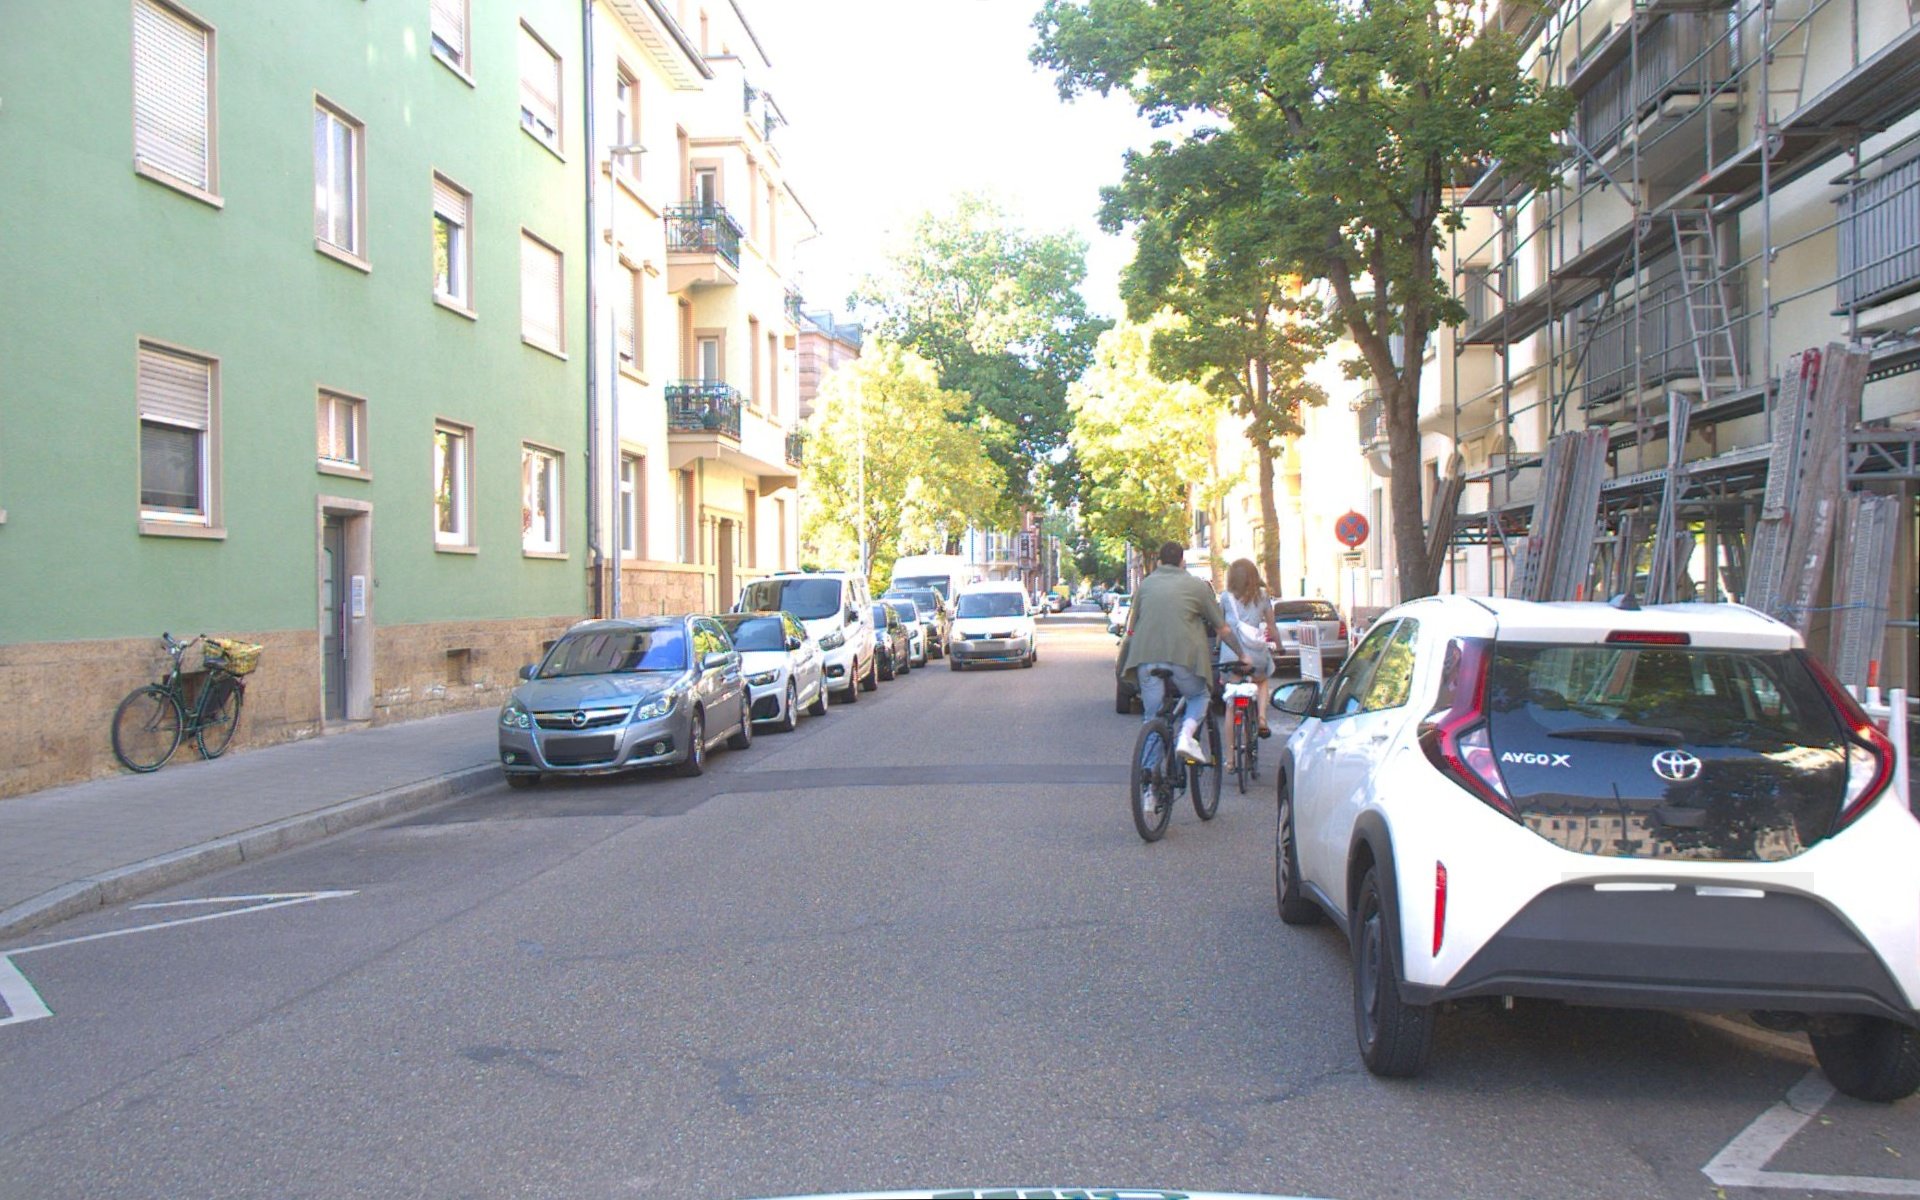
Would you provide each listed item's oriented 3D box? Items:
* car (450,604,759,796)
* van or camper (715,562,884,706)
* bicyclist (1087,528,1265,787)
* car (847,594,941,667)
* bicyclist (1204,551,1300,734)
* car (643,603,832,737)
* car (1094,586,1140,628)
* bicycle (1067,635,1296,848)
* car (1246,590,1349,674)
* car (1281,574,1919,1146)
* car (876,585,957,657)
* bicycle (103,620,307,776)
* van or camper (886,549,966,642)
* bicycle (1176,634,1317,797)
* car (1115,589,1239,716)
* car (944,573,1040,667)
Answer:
[{"bbox_3d":[-3.228,0.839,15.905,1.938,1.481,4.114,-3,0,1],"label":"car"},{"bbox_3d":[-2.451,0.487,26.494,1.952,2.049,4.913,-1,0,3],"label":"van or camper"},{"bbox_3d":[1.409,0.385,10.731,0.865,1.589,0.867,-3,-4,28],"label":"bicyclist"},{"bbox_3d":[-1.449,0.653,37.804,1.674,1.531,4.002,-1,0,4],"label":"car"},{"bbox_3d":[2.346,0.358,13.233,0.610,1.405,0.868,-2,-5,18],"label":"bicyclist"},{"bbox_3d":[-2.713,0.815,20.949,1.651,1.479,3.712,-1,0,3],"label":"car"},{"bbox_3d":[6.380,0.276,67.365,1.651,1.632,4.002,-1,0,3],"label":"car"},{"bbox_3d":[1.500,0.845,10.782,0.822,1.169,2.231,2,1,25],"label":"bicycle"},{"bbox_3d":[6.298,0.560,31.131,1.524,1.434,3.383,2,1,6],"label":"car"},{"bbox_3d":[2.265,0.721,6.344,1.639,1.572,3.405,1,0,5],"label":"car"},{"bbox_3d":[-1.063,0.493,42.266,1.674,1.729,4.002,-1,0,4],"label":"car"},{"bbox_3d":[-6.581,0.808,14.570,0.539,1.198,2.280,2,1,5],"label":"bicycle"},{"bbox_3d":[-0.966,-0.154,49.257,1.952,2.597,5.025,-1,0,3],"label":"van or camper"},{"bbox_3d":[2.333,0.865,13.242,0.821,1.169,2.233,0,-1,18],"label":"bicycle"},{"bbox_3d":[2.891,0.639,22.407,1.523,1.559,3.489,0,1,6],"label":"car"},{"bbox_3d":[0.752,0.404,35.969,1.744,1.893,4.202,-1,0,5],"label":"car"}]
